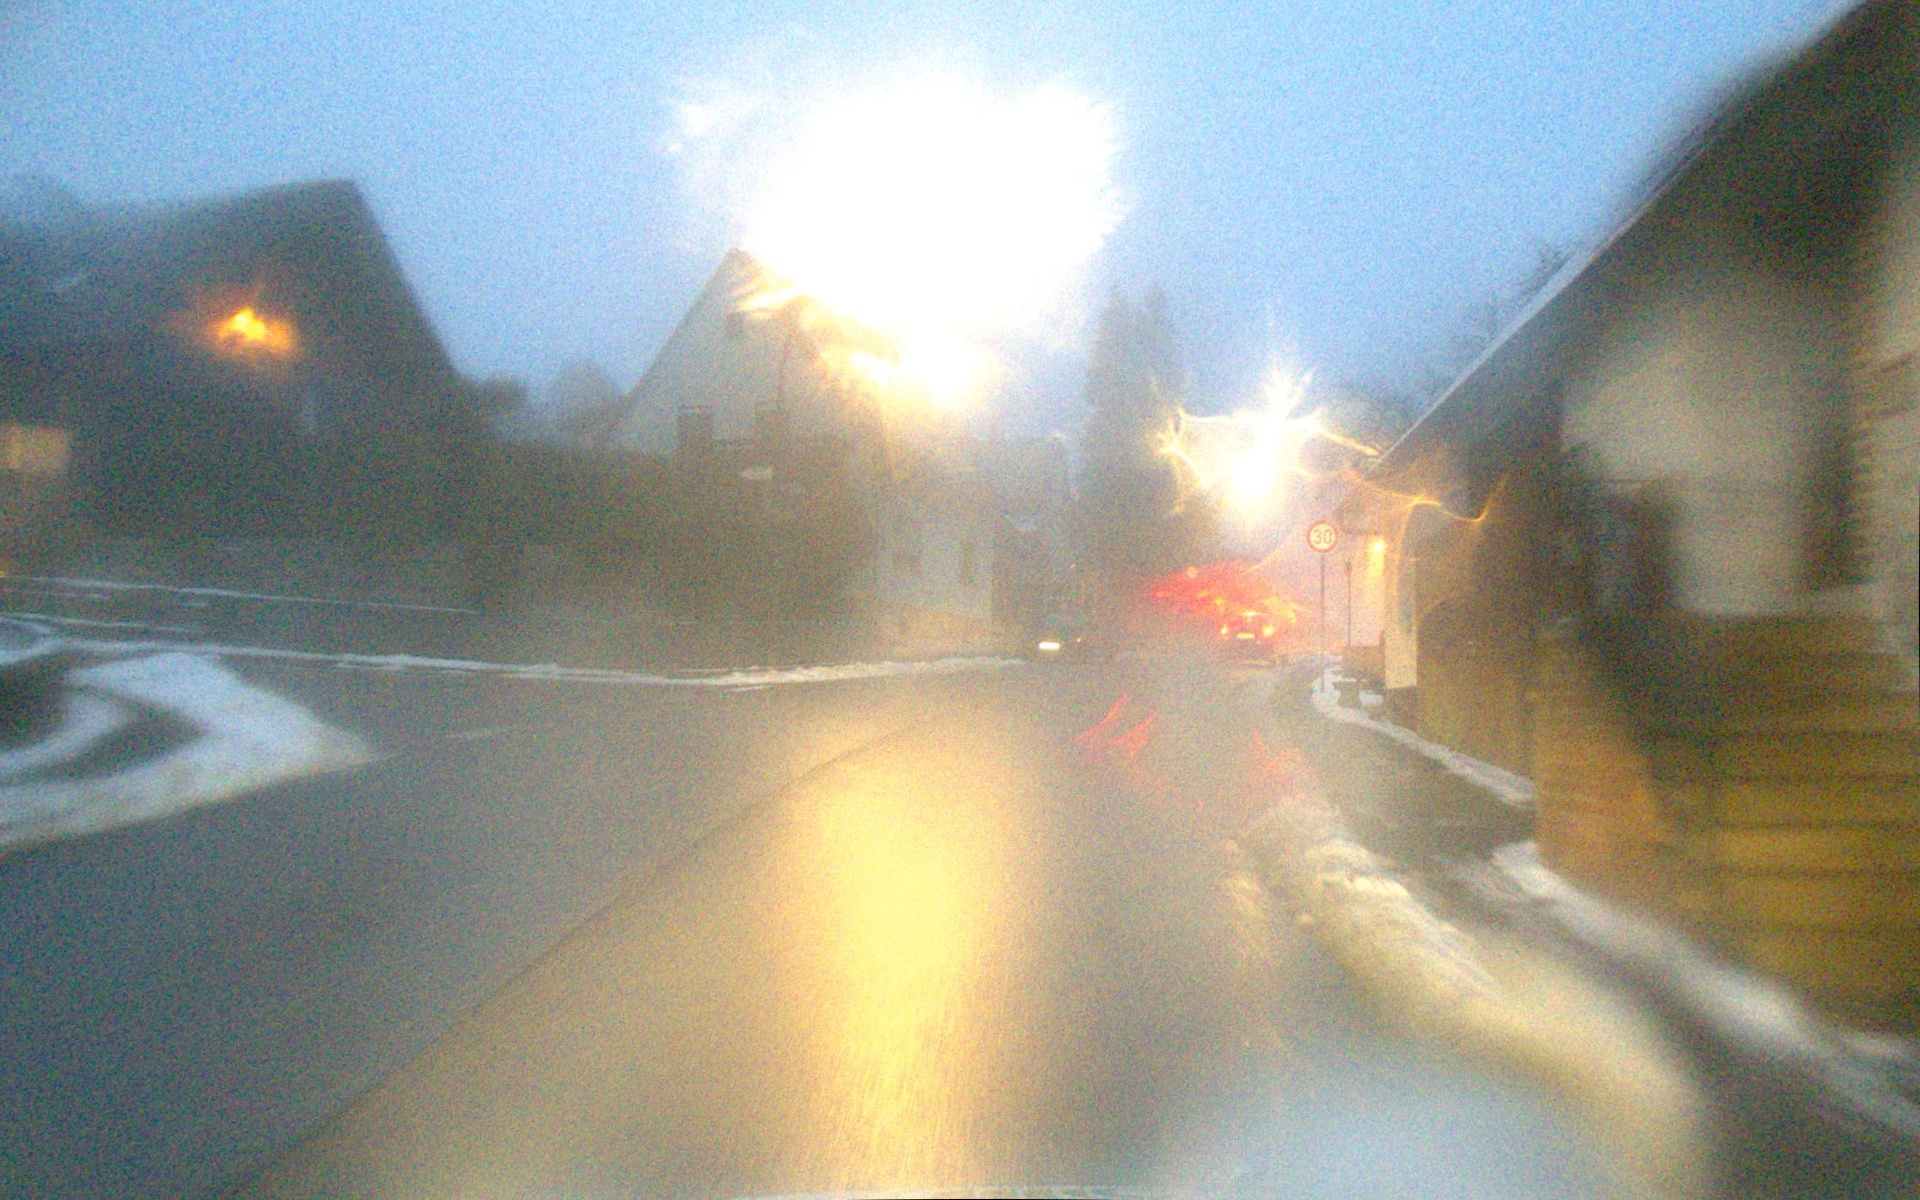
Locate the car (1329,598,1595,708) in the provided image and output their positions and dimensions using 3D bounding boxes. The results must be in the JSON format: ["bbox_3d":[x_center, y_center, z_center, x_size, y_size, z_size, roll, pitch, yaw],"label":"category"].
[{"bbox_3d":[7.114,0.779,23.712,3.366,1.411,1.640,-2,-3,7],"label":"car"}]

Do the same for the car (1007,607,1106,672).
[{"bbox_3d":[2.725,1.139,45.839,1.951,1.680,4.002,-2,-3,15],"label":"car"}]

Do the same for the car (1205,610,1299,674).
[{"bbox_3d":[8.704,1.276,49.114,1.953,1.767,3.877,-3,-3,22],"label":"car"}]
